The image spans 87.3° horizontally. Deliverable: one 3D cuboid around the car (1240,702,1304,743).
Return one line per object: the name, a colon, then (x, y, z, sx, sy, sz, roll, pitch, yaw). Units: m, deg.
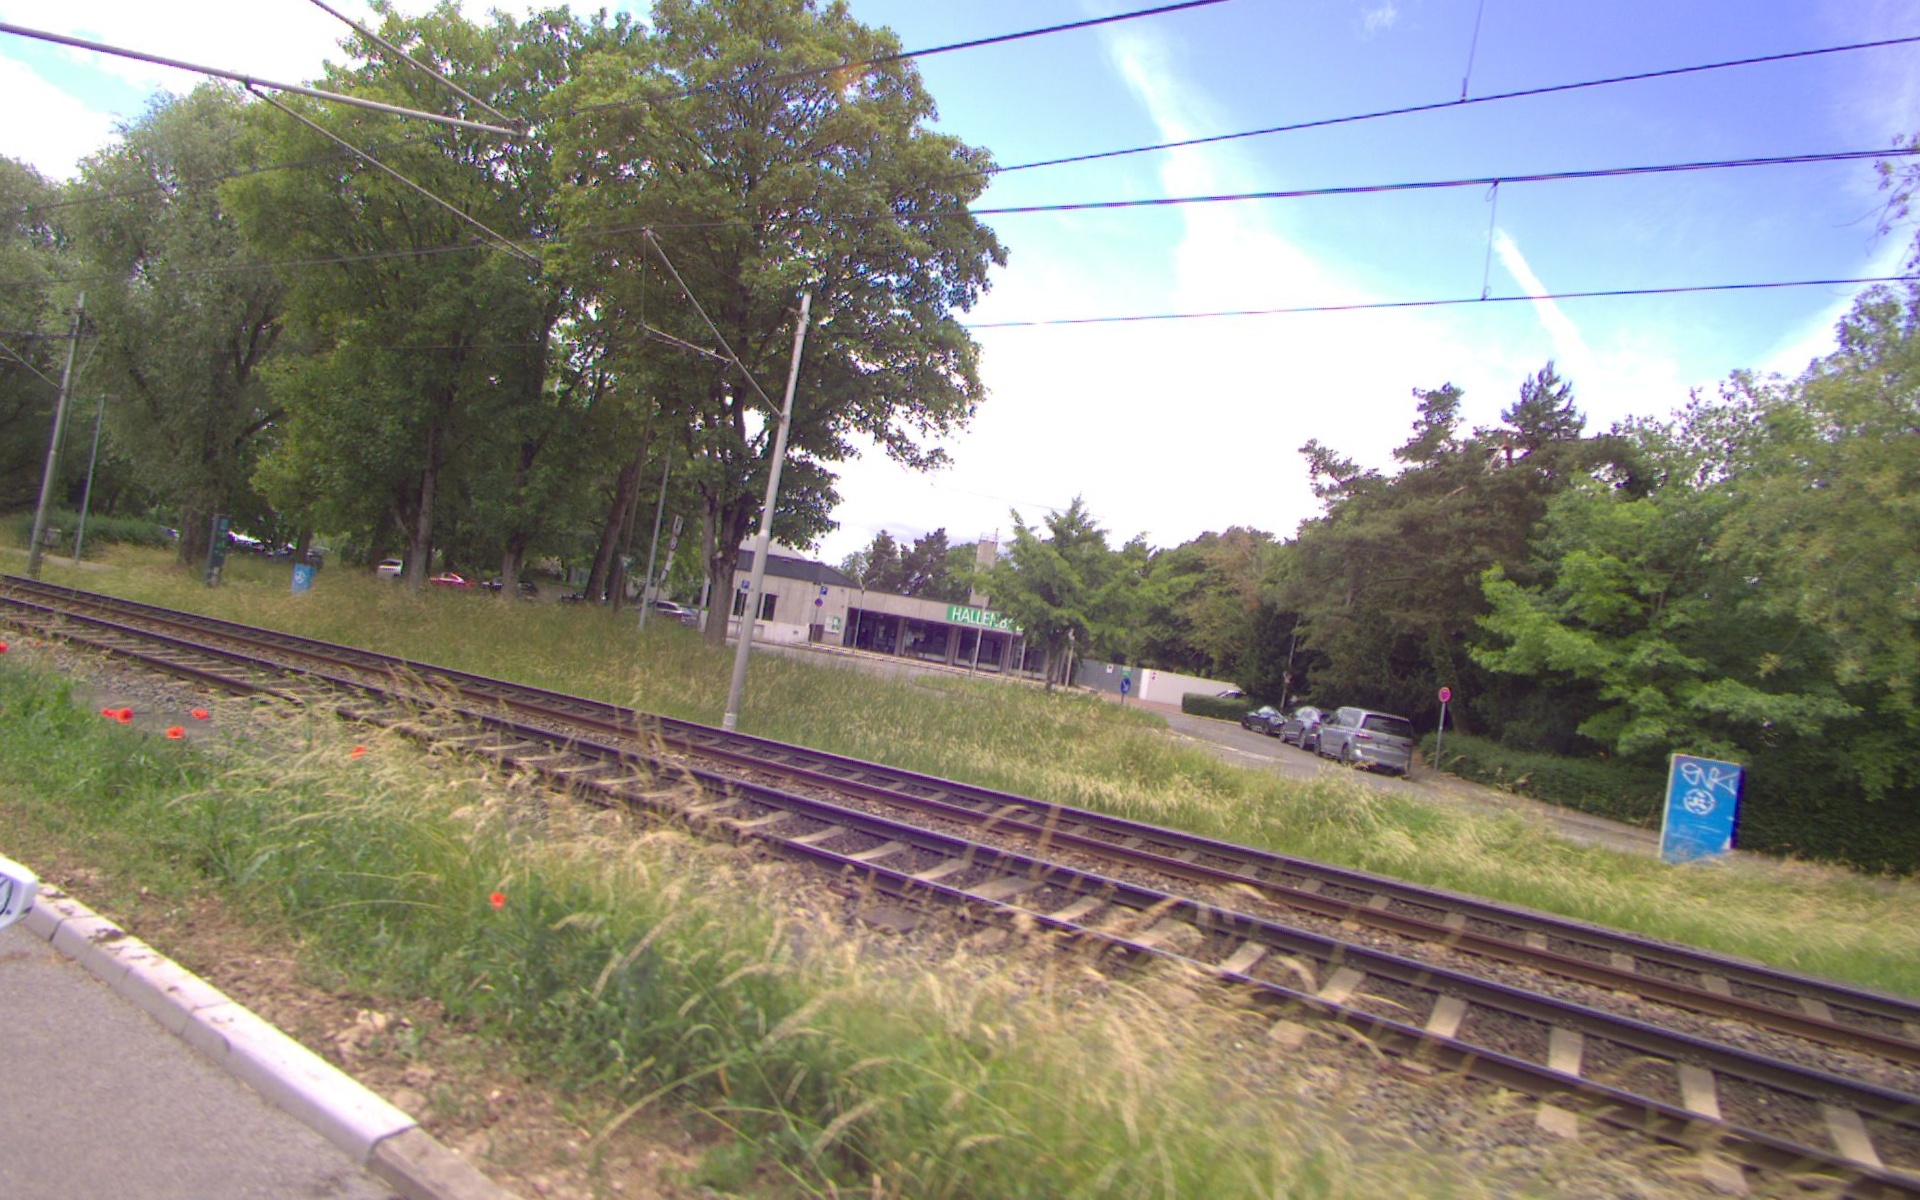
car: (13.625, 5.333, 44.114, 1.643, 1.348, 3.530, 8, -3, 3)

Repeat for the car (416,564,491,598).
car: (-30.852, -1.147, 61.295, 3.929, 1.458, 2.001, 7, -3, 26)

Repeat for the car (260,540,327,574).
car: (-45.430, -2.937, 68.578, 3.931, 1.718, 2.001, 7, -4, 28)

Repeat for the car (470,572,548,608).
car: (-26.478, -0.588, 59.049, 3.929, 1.458, 2.001, 7, -3, 26)

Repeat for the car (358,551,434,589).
car: (-35.775, -1.884, 63.805, 4.154, 1.718, 2.002, 7, -4, 27)

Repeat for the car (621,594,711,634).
car: (-15.751, 0.762, 53.878, 4.269, 1.458, 2.001, 7, -3, 26)

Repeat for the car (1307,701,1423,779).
car: (13.214, 4.522, 33.175, 1.882, 1.881, 4.720, 8, -3, 3)

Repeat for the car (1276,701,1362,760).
car: (13.646, 4.919, 38.481, 1.738, 1.696, 4.202, 8, -3, 3)

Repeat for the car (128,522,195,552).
car: (-68.574, -5.398, 86.482, 3.927, 1.832, 2.002, 9, -3, 1)

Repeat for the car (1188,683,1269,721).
car: (16.249, 6.173, 61.037, 4.379, 1.599, 1.982, 8, -2, 9)
